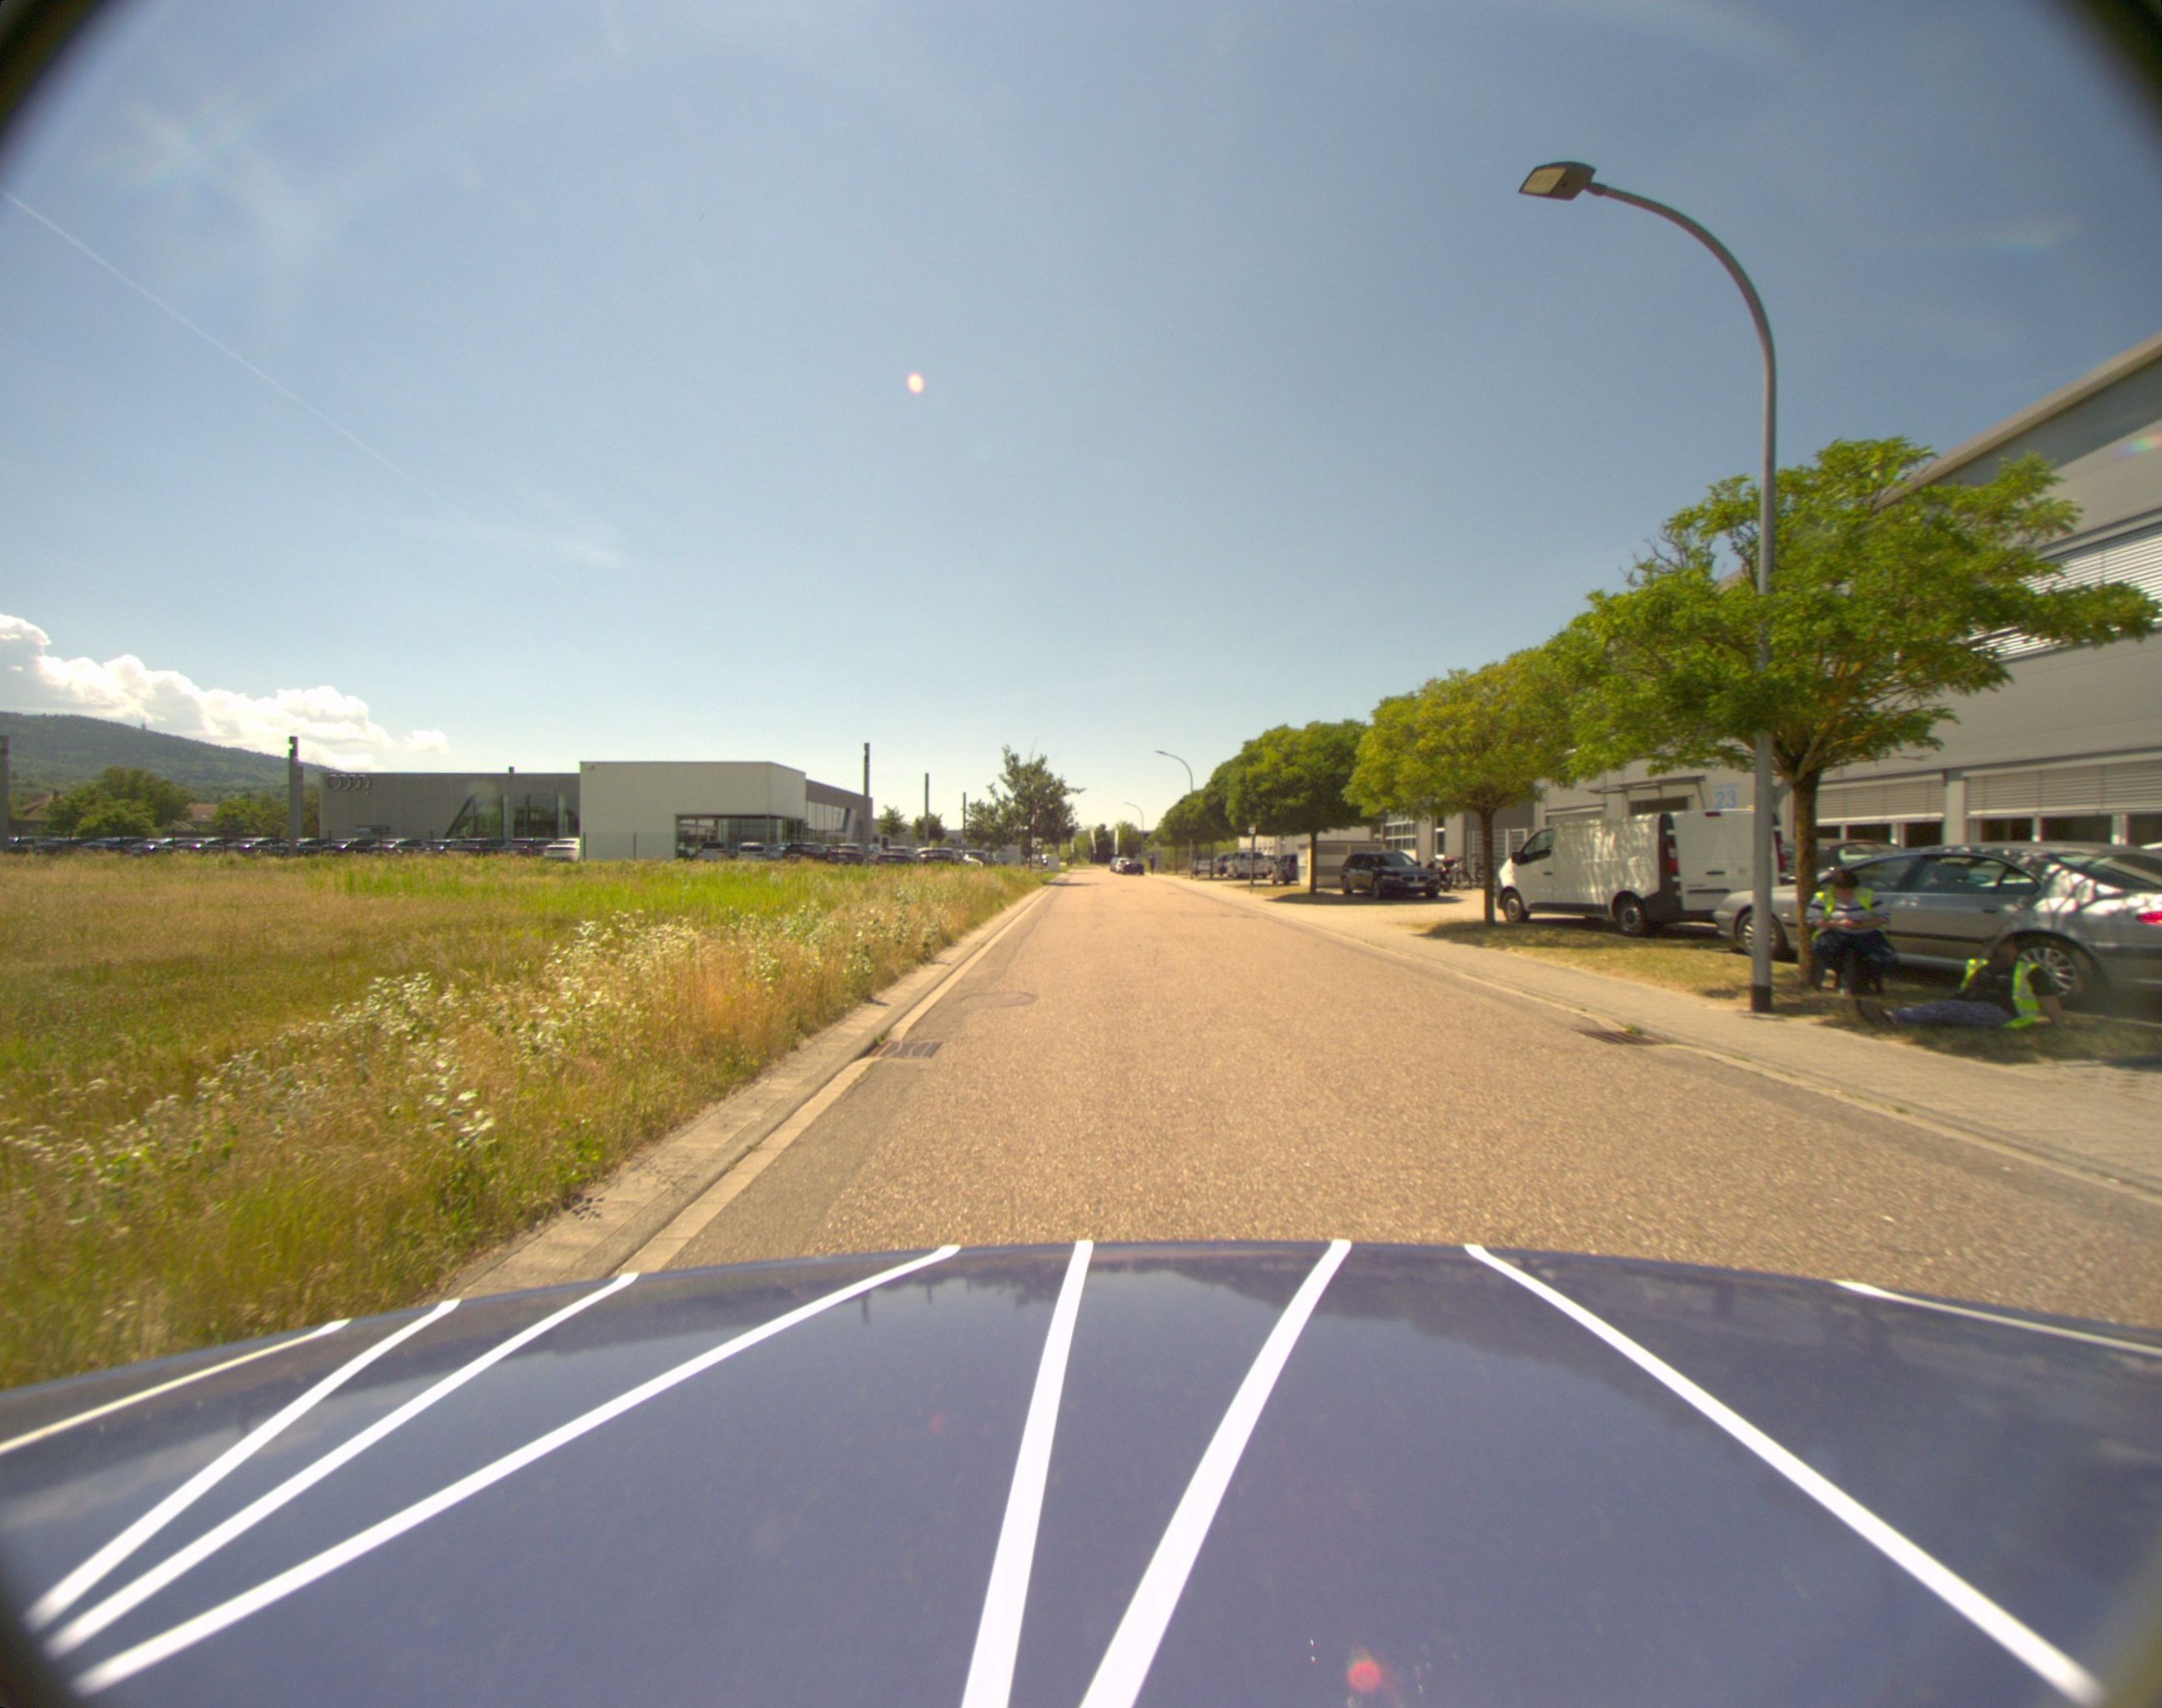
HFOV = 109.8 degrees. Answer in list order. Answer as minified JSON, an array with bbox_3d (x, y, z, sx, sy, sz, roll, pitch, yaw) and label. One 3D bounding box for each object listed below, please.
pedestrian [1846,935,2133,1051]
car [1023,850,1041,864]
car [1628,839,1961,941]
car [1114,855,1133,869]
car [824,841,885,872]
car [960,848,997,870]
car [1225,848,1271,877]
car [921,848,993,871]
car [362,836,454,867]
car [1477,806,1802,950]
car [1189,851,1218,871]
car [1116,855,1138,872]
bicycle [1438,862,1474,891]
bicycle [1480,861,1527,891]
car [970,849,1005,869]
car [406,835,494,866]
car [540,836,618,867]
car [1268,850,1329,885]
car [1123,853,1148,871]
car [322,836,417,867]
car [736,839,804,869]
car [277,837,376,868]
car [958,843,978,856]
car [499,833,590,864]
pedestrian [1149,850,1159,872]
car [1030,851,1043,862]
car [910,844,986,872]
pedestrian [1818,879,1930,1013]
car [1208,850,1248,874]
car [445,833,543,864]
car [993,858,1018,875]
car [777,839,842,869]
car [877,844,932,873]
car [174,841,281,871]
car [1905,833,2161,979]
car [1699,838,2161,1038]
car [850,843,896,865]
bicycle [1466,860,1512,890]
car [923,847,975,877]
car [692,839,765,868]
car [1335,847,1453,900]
[{"bbox_3d":[7.280,1.098,6.150,1.361,0.744,0.753,-3,0,3],"label":"pedestrian"},{"bbox_3d":[-5.979,0.317,93.219,1.892,1.562,4.227,3,0,-1],"label":"car"},{"bbox_3d":[12.067,0.532,13.322,1.932,1.432,4.086,-2,0,-1],"label":"car"},{"bbox_3d":[4.612,0.820,82.308,1.829,1.491,4.520,0,0,1],"label":"car"},{"bbox_3d":[-13.582,0.128,45.849,2.029,1.715,4.809,2,0,2],"label":"car"},{"bbox_3d":[-7.668,0.368,57.444,2.030,1.564,4.779,2,0,1],"label":"car"},{"bbox_3d":[9.866,0.481,45.201,1.770,1.564,4.540,-2,0,1],"label":"car"},{"bbox_3d":[-8.558,0.388,52.792,4.538,1.449,2.032,2,0,4],"label":"car"},{"bbox_3d":[-40.581,-0.163,45.973,1.998,1.774,4.000,1,0,0],"label":"car"},{"bbox_3d":[9.389,0.350,13.503,1.842,2.007,5.125,-2,0,-2],"label":"car"},{"bbox_3d":[9.881,0.527,61.503,1.828,1.491,4.328,-2,0,2],"label":"car"},{"bbox_3d":[4.299,0.851,71.208,1.829,1.491,4.259,0,0,1],"label":"car"},{"bbox_3d":[13.085,0.768,26.534,0.352,0.972,1.697,-2,0,-1],"label":"bicycle"},{"bbox_3d":[14.779,0.744,26.614,0.436,0.972,2.064,-2,0,-1],"label":"bicycle"},{"bbox_3d":[-7.663,0.384,62.794,2.030,1.505,5.239,3,0,1],"label":"car"},{"bbox_3d":[-37.983,-0.206,45.875,1.998,1.774,4.000,1,0,0],"label":"car"},{"bbox_3d":[-30.097,-0.166,45.724,1.998,1.774,4.000,1,0,0],"label":"car"},{"bbox_3d":[9.833,0.577,34.597,1.770,1.445,3.840,-2,0,2],"label":"car"},{"bbox_3d":[4.613,0.653,65.109,1.829,1.491,4.525,0,0,0],"label":"car"},{"bbox_3d":[-42.966,-0.148,46.023,1.998,1.774,4.000,1,0,0],"label":"car"},{"bbox_3d":[-18.834,-0.005,46.259,2.029,1.644,4.809,2,0,2],"label":"car"},{"bbox_3d":[-45.596,-0.100,46.034,1.998,1.774,4.000,1,0,0],"label":"car"},{"bbox_3d":[-14.702,-0.524,98.896,1.966,1.604,4.288,2,0,-1],"label":"car"},{"bbox_3d":[-32.544,-0.328,46.309,2.029,1.715,4.809,2,0,2],"label":"car"},{"bbox_3d":[6.125,0.574,63.552,0.746,1.791,1.135,-2,0,2],"label":"pedestrian"},{"bbox_3d":[-6.872,0.371,117.920,1.824,1.519,4.944,2,0,-1],"label":"car"},{"bbox_3d":[-8.732,0.287,50.134,4.539,1.683,2.032,2,0,2],"label":"car"},{"bbox_3d":[7.342,0.838,7.056,0.479,1.144,0.555,-3,3,11],"label":"pedestrian"},{"bbox_3d":[9.702,0.519,50.488,1.687,1.491,3.703,0,0,-4],"label":"car"},{"bbox_3d":[-35.419,-0.322,46.043,2.029,1.715,4.809,2,0,2],"label":"car"},{"bbox_3d":[-7.367,1.211,74.643,1.966,1.448,4.984,2,2,0],"label":"car"},{"bbox_3d":[-16.352,0.021,46.046,2.029,1.670,4.809,2,0,2],"label":"car"},{"bbox_3d":[-10.562,0.274,45.926,2.029,1.601,4.809,2,0,2],"label":"car"},{"bbox_3d":[-51.767,0.109,46.226,1.998,1.774,4.000,1,0,0],"label":"car"},{"bbox_3d":[11.996,0.511,7.949,1.931,1.456,4.465,-2,0,1],"label":"car"},{"bbox_3d":[9.313,0.606,7.864,1.931,1.432,4.840,-3,1,1],"label":"car"},{"bbox_3d":[-15.641,0.011,57.301,2.030,1.580,4.779,2,0,1],"label":"car"},{"bbox_3d":[14.222,0.720,26.522,0.436,0.972,2.064,-2,0,-1],"label":"bicycle"},{"bbox_3d":[-7.921,0.451,46.002,2.029,1.683,5.109,2,0,2],"label":"car"},{"bbox_3d":[-21.378,-0.039,46.278,2.029,1.644,4.809,2,0,2],"label":"car"},{"bbox_3d":[9.670,0.556,23.918,1.770,1.445,4.714,-2,0,1],"label":"car"}]
